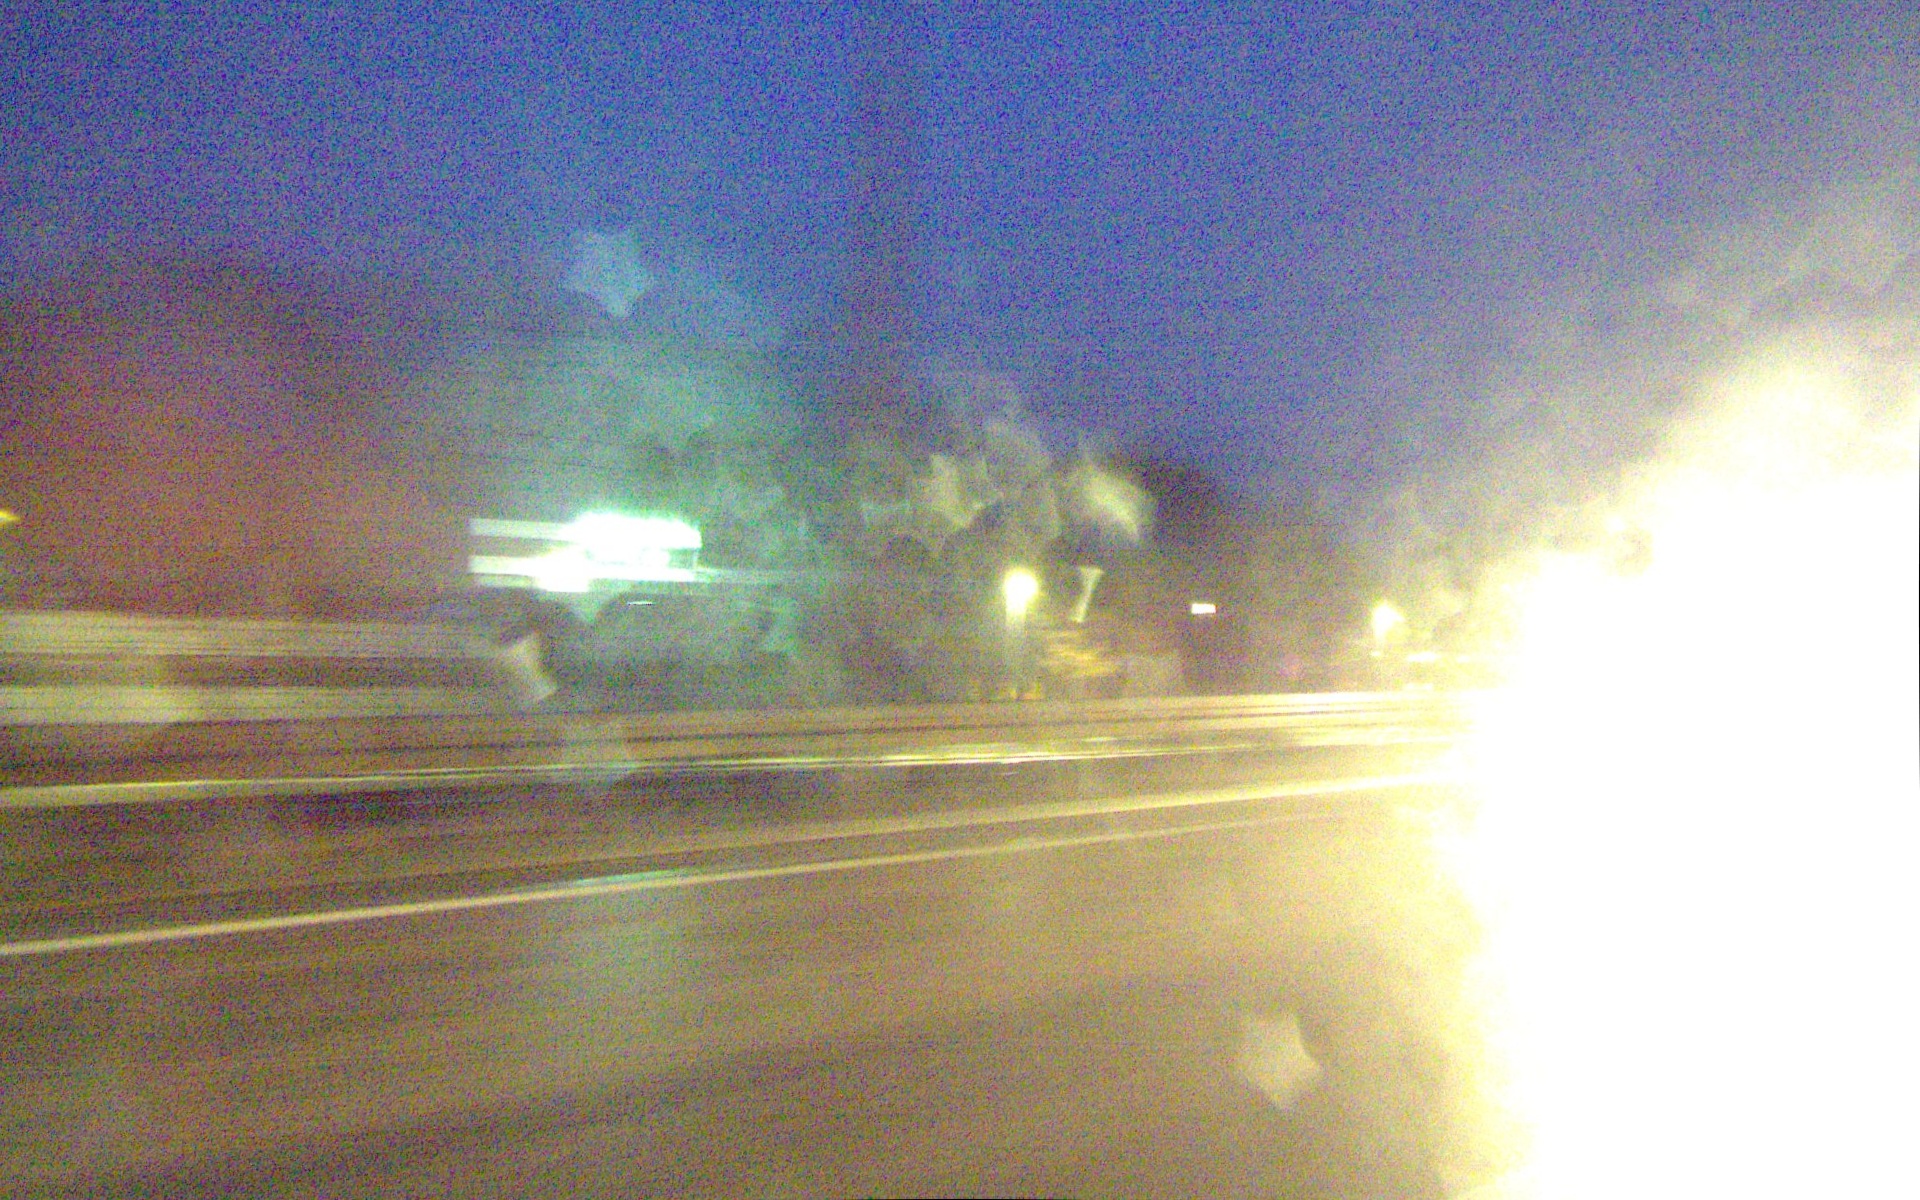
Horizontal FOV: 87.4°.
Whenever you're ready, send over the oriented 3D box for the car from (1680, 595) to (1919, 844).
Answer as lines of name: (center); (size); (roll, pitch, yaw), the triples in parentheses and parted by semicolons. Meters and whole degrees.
car: (8.230, 0.869, 8.606); (4.466, 1.705, 1.646); (1, 0, -30)
